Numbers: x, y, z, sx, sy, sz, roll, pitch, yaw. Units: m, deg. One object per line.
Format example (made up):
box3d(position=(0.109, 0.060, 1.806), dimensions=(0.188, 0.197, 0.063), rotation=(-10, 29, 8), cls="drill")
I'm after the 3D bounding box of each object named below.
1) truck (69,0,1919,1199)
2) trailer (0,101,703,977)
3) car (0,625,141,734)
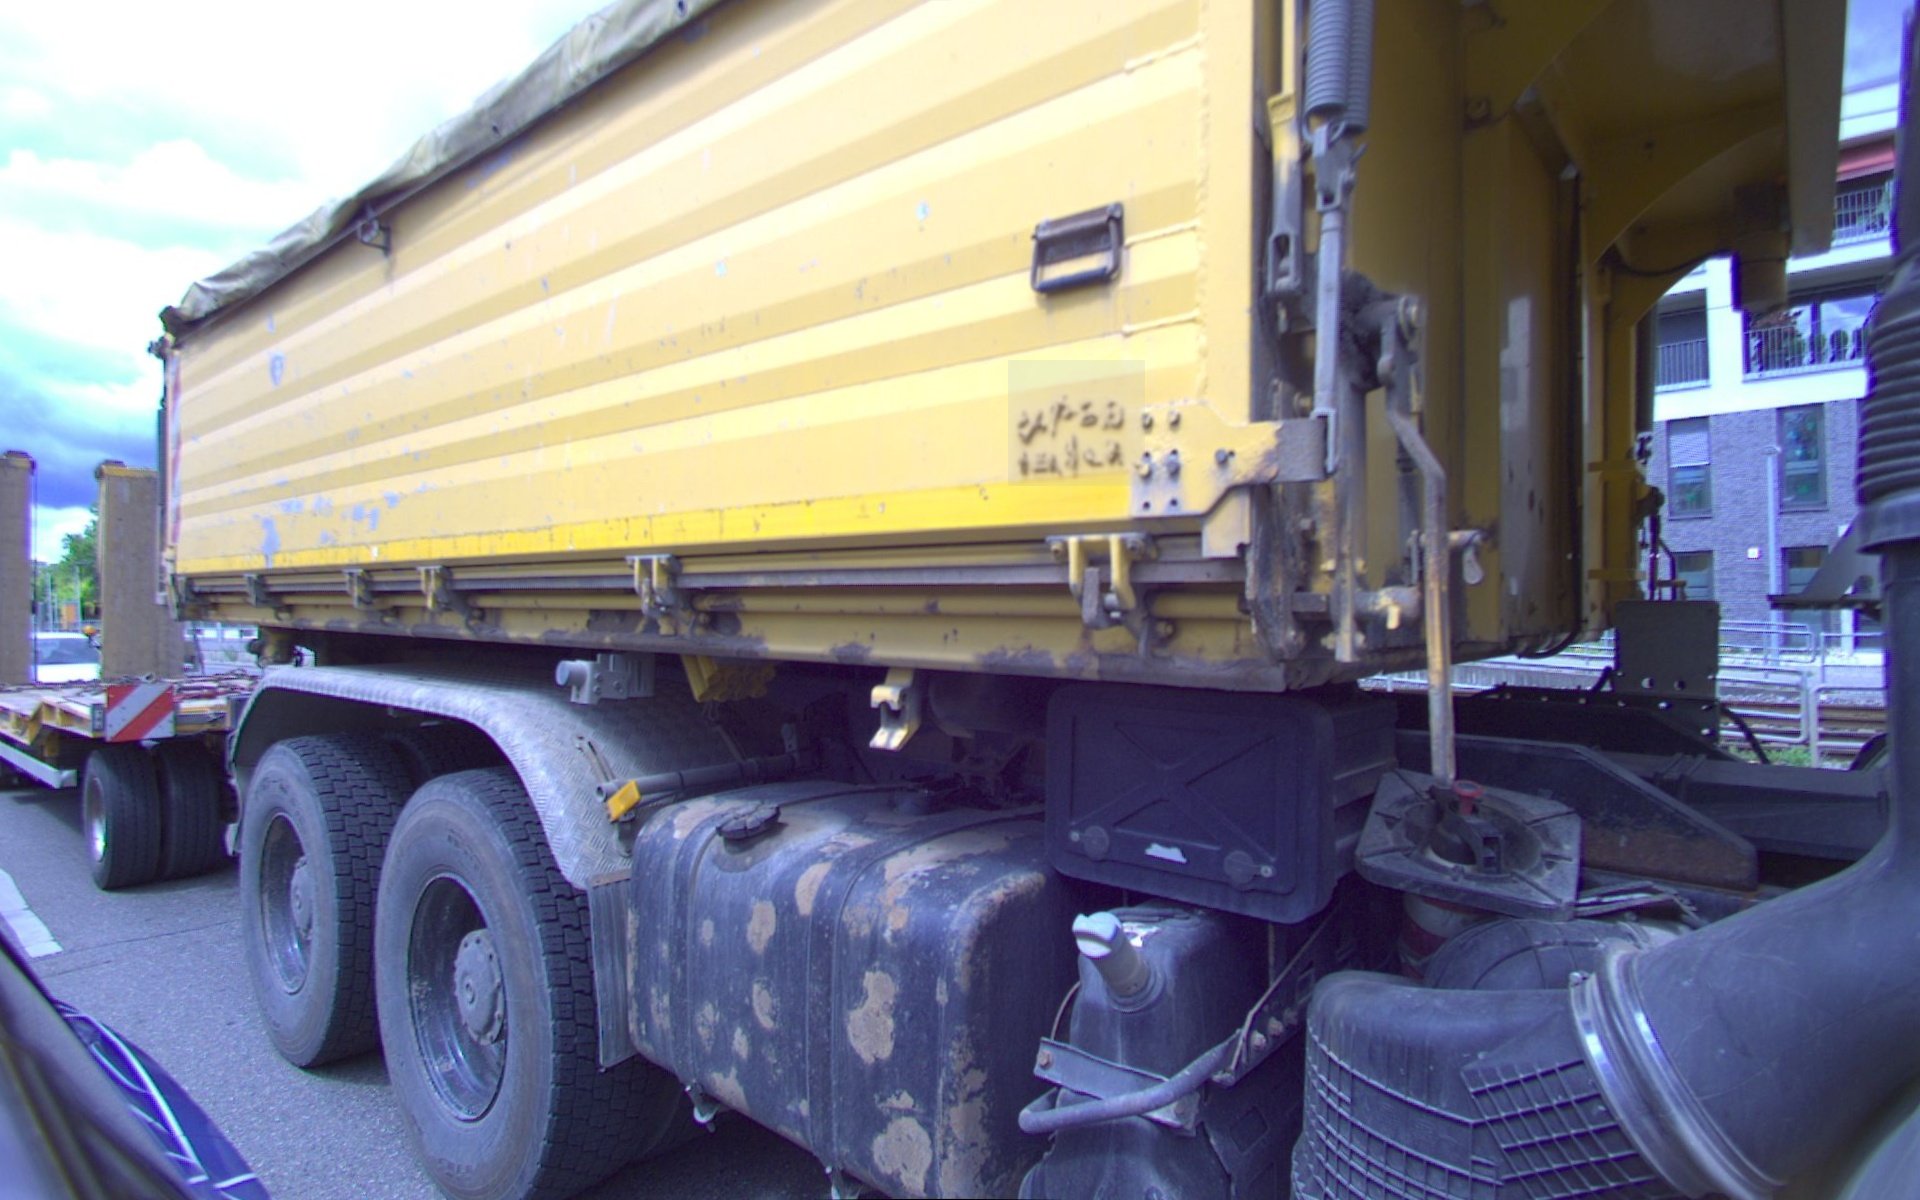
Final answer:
box3d(position=(0.247, -0.227, 2.878), dimensions=(7.999, 3.420, 3.019), rotation=(-2, -1, 40), cls="truck")
box3d(position=(-6.852, -0.140, 9.016), dimensions=(10.957, 3.726, 3.018), rotation=(-2, -1, 40), cls="trailer")
box3d(position=(-13.978, 1.130, 15.386), dimensions=(3.784, 1.427, 1.761), rotation=(-2, -1, 41), cls="car")
